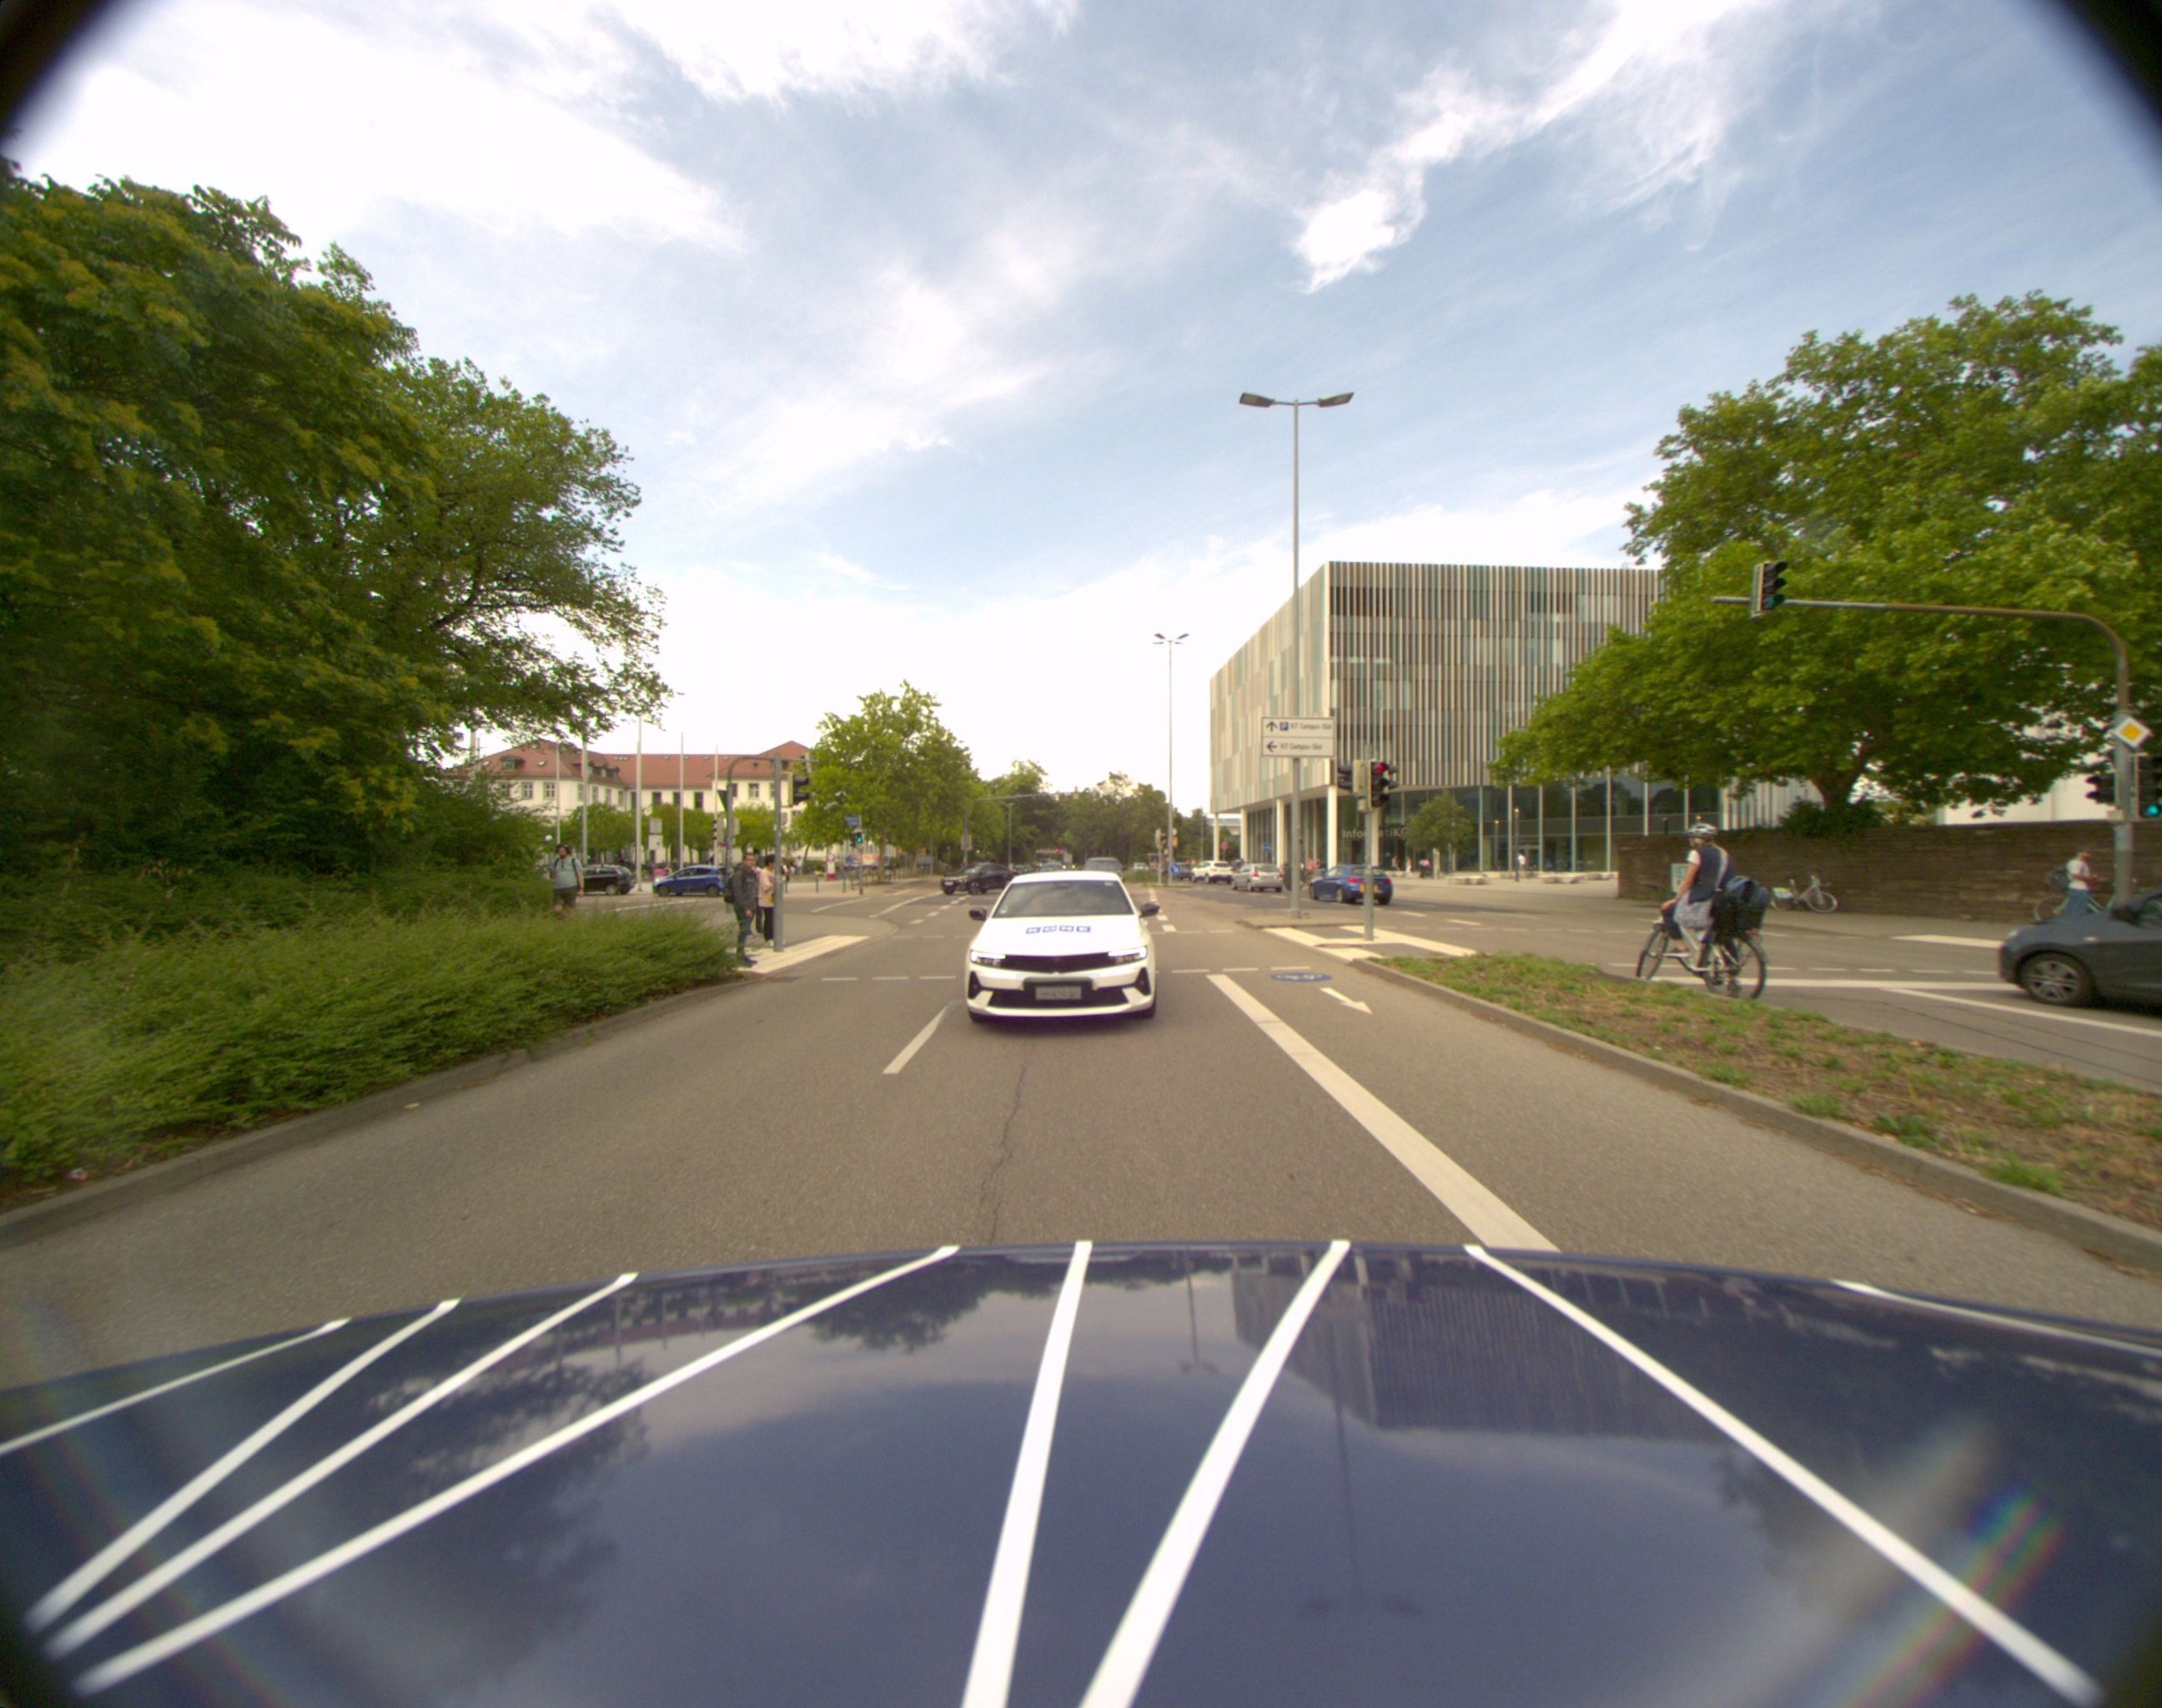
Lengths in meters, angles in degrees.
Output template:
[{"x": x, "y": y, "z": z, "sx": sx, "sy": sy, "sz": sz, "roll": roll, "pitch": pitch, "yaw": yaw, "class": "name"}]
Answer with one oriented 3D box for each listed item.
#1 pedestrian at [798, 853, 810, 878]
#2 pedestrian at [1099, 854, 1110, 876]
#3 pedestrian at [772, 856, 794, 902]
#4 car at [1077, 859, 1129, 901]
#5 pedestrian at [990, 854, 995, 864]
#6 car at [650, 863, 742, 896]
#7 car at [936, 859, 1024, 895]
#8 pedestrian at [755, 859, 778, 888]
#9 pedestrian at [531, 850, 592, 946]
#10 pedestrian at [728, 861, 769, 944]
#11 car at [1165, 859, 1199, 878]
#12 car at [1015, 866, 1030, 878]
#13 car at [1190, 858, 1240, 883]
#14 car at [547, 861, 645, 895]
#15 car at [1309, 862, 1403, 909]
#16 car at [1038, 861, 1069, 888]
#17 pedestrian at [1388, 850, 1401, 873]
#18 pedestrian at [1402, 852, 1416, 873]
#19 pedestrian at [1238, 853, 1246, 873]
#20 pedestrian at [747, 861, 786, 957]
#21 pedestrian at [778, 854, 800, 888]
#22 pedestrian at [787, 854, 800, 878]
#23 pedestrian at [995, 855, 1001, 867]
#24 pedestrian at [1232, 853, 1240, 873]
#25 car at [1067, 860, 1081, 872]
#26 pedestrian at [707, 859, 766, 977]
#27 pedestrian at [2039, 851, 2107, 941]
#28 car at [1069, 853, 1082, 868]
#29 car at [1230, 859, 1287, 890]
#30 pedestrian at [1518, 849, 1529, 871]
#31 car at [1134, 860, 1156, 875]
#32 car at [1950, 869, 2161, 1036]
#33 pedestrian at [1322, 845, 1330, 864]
[{"x": -22.281, "y": 0.908, "z": 61.036, "sx": 0.687, "sy": 1.951, "sz": 0.601, "roll": -2, "pitch": 1, "yaw": -42, "class": "pedestrian"}, {"x": 1.981, "y": 0.916, "z": 64.182, "sx": 0.727, "sy": 1.843, "sz": 1.064, "roll": 0, "pitch": 0, "yaw": -5, "class": "pedestrian"}, {"x": -12.130, "y": 1.016, "z": 30.947, "sx": 0.647, "sy": 1.842, "sz": 0.828, "roll": -2, "pitch": 1, "yaw": -14, "class": "pedestrian"}, {"x": 0.865, "y": 1.039, "z": 32.125, "sx": 1.905, "sy": 1.639, "sz": 4.644, "roll": -1, "pitch": 0, "yaw": -2, "class": "car"}, {"x": -13.504, "y": 0.817, "z": 115.865, "sx": 0.646, "sy": 1.556, "sz": 0.804, "roll": 0, "pitch": 0, "yaw": -4, "class": "pedestrian"}, {"x": -18.722, "y": 1.216, "z": 37.035, "sx": 3.581, "sy": 1.483, "sz": 1.674, "roll": 0, "pitch": 1, "yaw": -3, "class": "car"}, {"x": -4.946, "y": 1.105, "z": 37.603, "sx": 1.800, "sy": 1.547, "sz": 4.184, "roll": -1, "pitch": 1, "yaw": 38, "class": "car"}, {"x": -18.683, "y": 1.169, "z": 45.126, "sx": 0.953, "sy": 1.698, "sz": 0.702, "roll": -1, "pitch": 1, "yaw": 16, "class": "pedestrian"}, {"x": -9.841, "y": 0.816, "z": 14.419, "sx": 0.646, "sy": 1.785, "sz": 0.740, "roll": 0, "pitch": 1, "yaw": -2, "class": "pedestrian"}, {"x": -6.854, "y": 0.990, "z": 15.682, "sx": 0.547, "sy": 1.677, "sz": 0.637, "roll": 0, "pitch": 1, "yaw": -2, "class": "pedestrian"}, {"x": 8.599, "y": 1.207, "z": 65.183, "sx": 1.903, "sy": 1.606, "sz": 4.741, "roll": 0, "pitch": 0, "yaw": -6, "class": "car"}, {"x": -6.770, "y": 2.085, "z": 87.855, "sx": 1.703, "sy": 1.361, "sz": 3.831, "roll": 0, "pitch": 0, "yaw": -3, "class": "car"}, {"x": 9.424, "y": 1.144, "z": 53.815, "sx": 1.871, "sy": 1.642, "sz": 4.417, "roll": 0, "pitch": 0, "yaw": -13, "class": "car"}, {"x": -23.683, "y": 1.165, "z": 37.200, "sx": 3.694, "sy": 1.558, "sz": 1.674, "roll": 0, "pitch": 1, "yaw": -3, "class": "car"}, {"x": 9.947, "y": 1.085, "z": 27.831, "sx": 1.806, "sy": 1.503, "sz": 4.102, "roll": 0, "pitch": 1, "yaw": -2, "class": "car"}, {"x": -1.595, "y": 1.131, "z": 43.556, "sx": 1.703, "sy": 1.485, "sz": 3.831, "roll": 0, "pitch": 0, "yaw": -3, "class": "car"}, {"x": 24.388, "y": 0.582, "z": 59.110, "sx": 0.732, "sy": 1.730, "sz": 0.677, "roll": -1, "pitch": 1, "yaw": -37, "class": "pedestrian"}, {"x": 25.285, "y": 0.634, "z": 58.556, "sx": 0.731, "sy": 1.591, "sz": 0.677, "roll": -1, "pitch": 1, "yaw": -34, "class": "pedestrian"}, {"x": 14.659, "y": 0.820, "z": 69.131, "sx": 0.512, "sy": 1.826, "sz": 0.624, "roll": 0, "pitch": 0, "yaw": -3, "class": "pedestrian"}, {"x": -5.757, "y": 0.988, "z": 13.925, "sx": 0.455, "sy": 1.725, "sz": 0.637, "roll": 0, "pitch": 1, "yaw": -2, "class": "pedestrian"}, {"x": -15.657, "y": 0.889, "z": 40.795, "sx": 0.769, "sy": 1.794, "sz": 0.891, "roll": -2, "pitch": 1, "yaw": 2, "class": "pedestrian"}, {"x": -22.880, "y": 0.955, "z": 60.455, "sx": 0.687, "sy": 1.951, "sz": 0.601, "roll": -2, "pitch": 1, "yaw": -42, "class": "pedestrian"}, {"x": -12.696, "y": 1.051, "z": 115.848, "sx": 0.798, "sy": 1.922, "sz": 0.760, "roll": 0, "pitch": 0, "yaw": -3, "class": "pedestrian"}, {"x": 14.084, "y": 0.799, "z": 69.171, "sx": 0.512, "sy": 1.826, "sz": 0.772, "roll": 0, "pitch": -1, "yaw": -3, "class": "pedestrian"}, {"x": -1.017, "y": 1.695, "z": 108.153, "sx": 1.661, "sy": 1.455, "sz": 3.999, "roll": 5, "pitch": 0, "yaw": -2, "class": "car"}, {"x": -5.217, "y": 0.948, "z": 11.533, "sx": 0.603, "sy": 1.725, "sz": 0.654, "roll": 0, "pitch": 1, "yaw": -2, "class": "pedestrian"}, {"x": 20.520, "y": 0.840, "z": 15.721, "sx": 0.748, "sy": 1.772, "sz": 0.781, "roll": -1, "pitch": 2, "yaw": -34, "class": "pedestrian"}, {"x": -0.788, "y": 0.922, "z": 108.173, "sx": 1.839, "sy": 2.002, "sz": 4.000, "roll": 0, "pitch": 0, "yaw": 0, "class": "car"}, {"x": 9.218, "y": 1.020, "z": 39.758, "sx": 1.806, "sy": 1.480, "sz": 4.287, "roll": 0, "pitch": 0, "yaw": -2, "class": "car"}, {"x": 35.613, "y": 0.446, "z": 61.195, "sx": 0.635, "sy": 1.768, "sz": 0.598, "roll": 0, "pitch": 1, "yaw": 42, "class": "pedestrian"}, {"x": 6.794, "y": 1.430, "z": 80.818, "sx": 1.766, "sy": 1.480, "sz": 4.544, "roll": 0, "pitch": 0, "yaw": -2, "class": "car"}, {"x": 10.581, "y": 0.918, "z": 6.753, "sx": 1.575, "sy": 1.480, "sz": 3.637, "roll": 1, "pitch": 0, "yaw": 2, "class": "car"}, {"x": 25.401, "y": 0.052, "z": 78.739, "sx": 0.512, "sy": 2.031, "sz": 0.624, "roll": 0, "pitch": 0, "yaw": -4, "class": "pedestrian"}]
